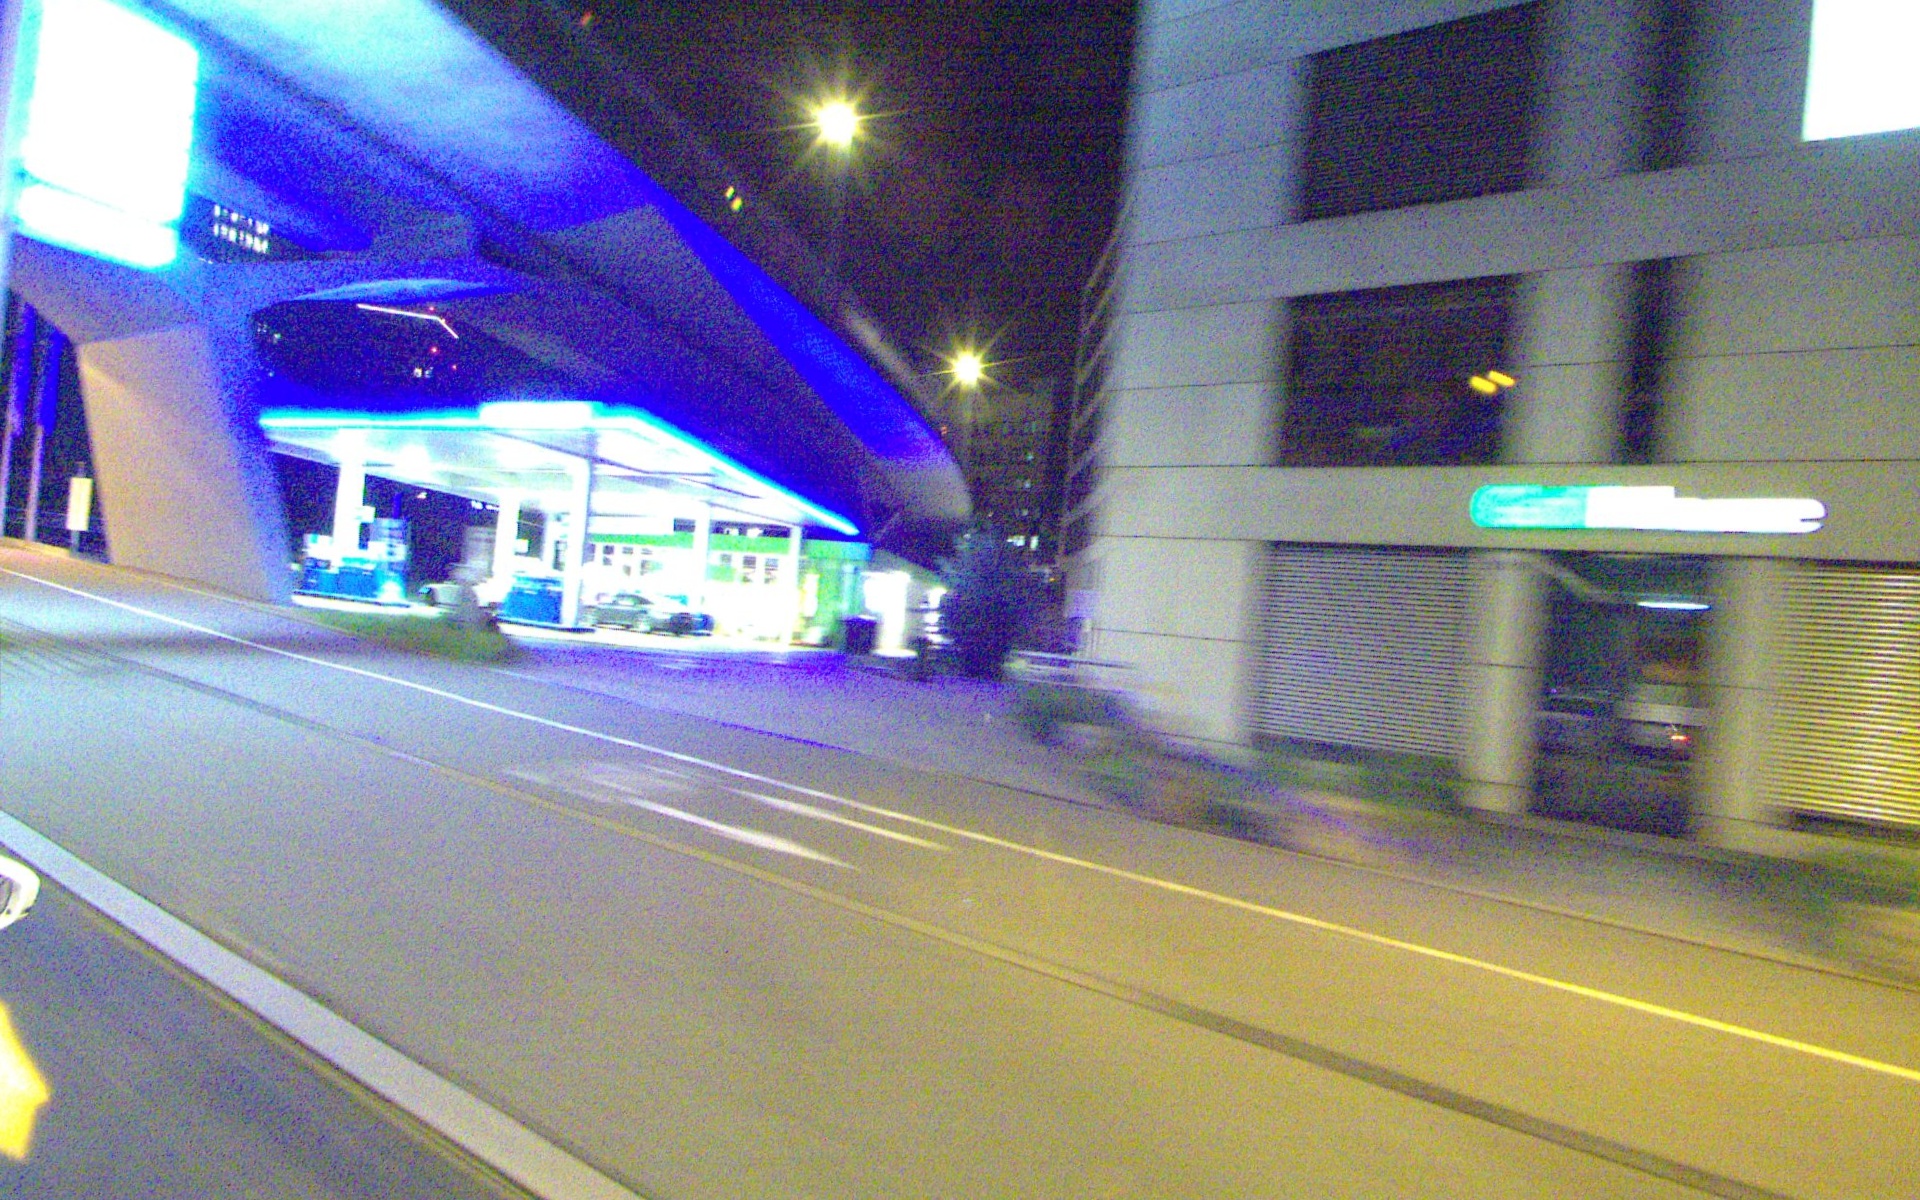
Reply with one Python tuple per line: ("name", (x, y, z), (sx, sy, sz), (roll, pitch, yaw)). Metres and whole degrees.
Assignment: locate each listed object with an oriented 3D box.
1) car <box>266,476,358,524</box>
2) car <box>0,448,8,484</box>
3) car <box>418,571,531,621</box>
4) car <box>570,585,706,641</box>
("car", (-36.159, -5.558, 56.263), (1.722, 1.917, 3.819), (6, -2, 29))
("car", (-44.124, -6.110, 43.392), (1.793, 1.541, 4.122), (5, -1, 33))
("car", (-18.466, -0.145, 38.237), (3.997, 1.374, 1.658), (6, -2, 26))
("car", (-11.044, 0.432, 34.475), (4.260, 1.379, 1.932), (6, -2, 28))
